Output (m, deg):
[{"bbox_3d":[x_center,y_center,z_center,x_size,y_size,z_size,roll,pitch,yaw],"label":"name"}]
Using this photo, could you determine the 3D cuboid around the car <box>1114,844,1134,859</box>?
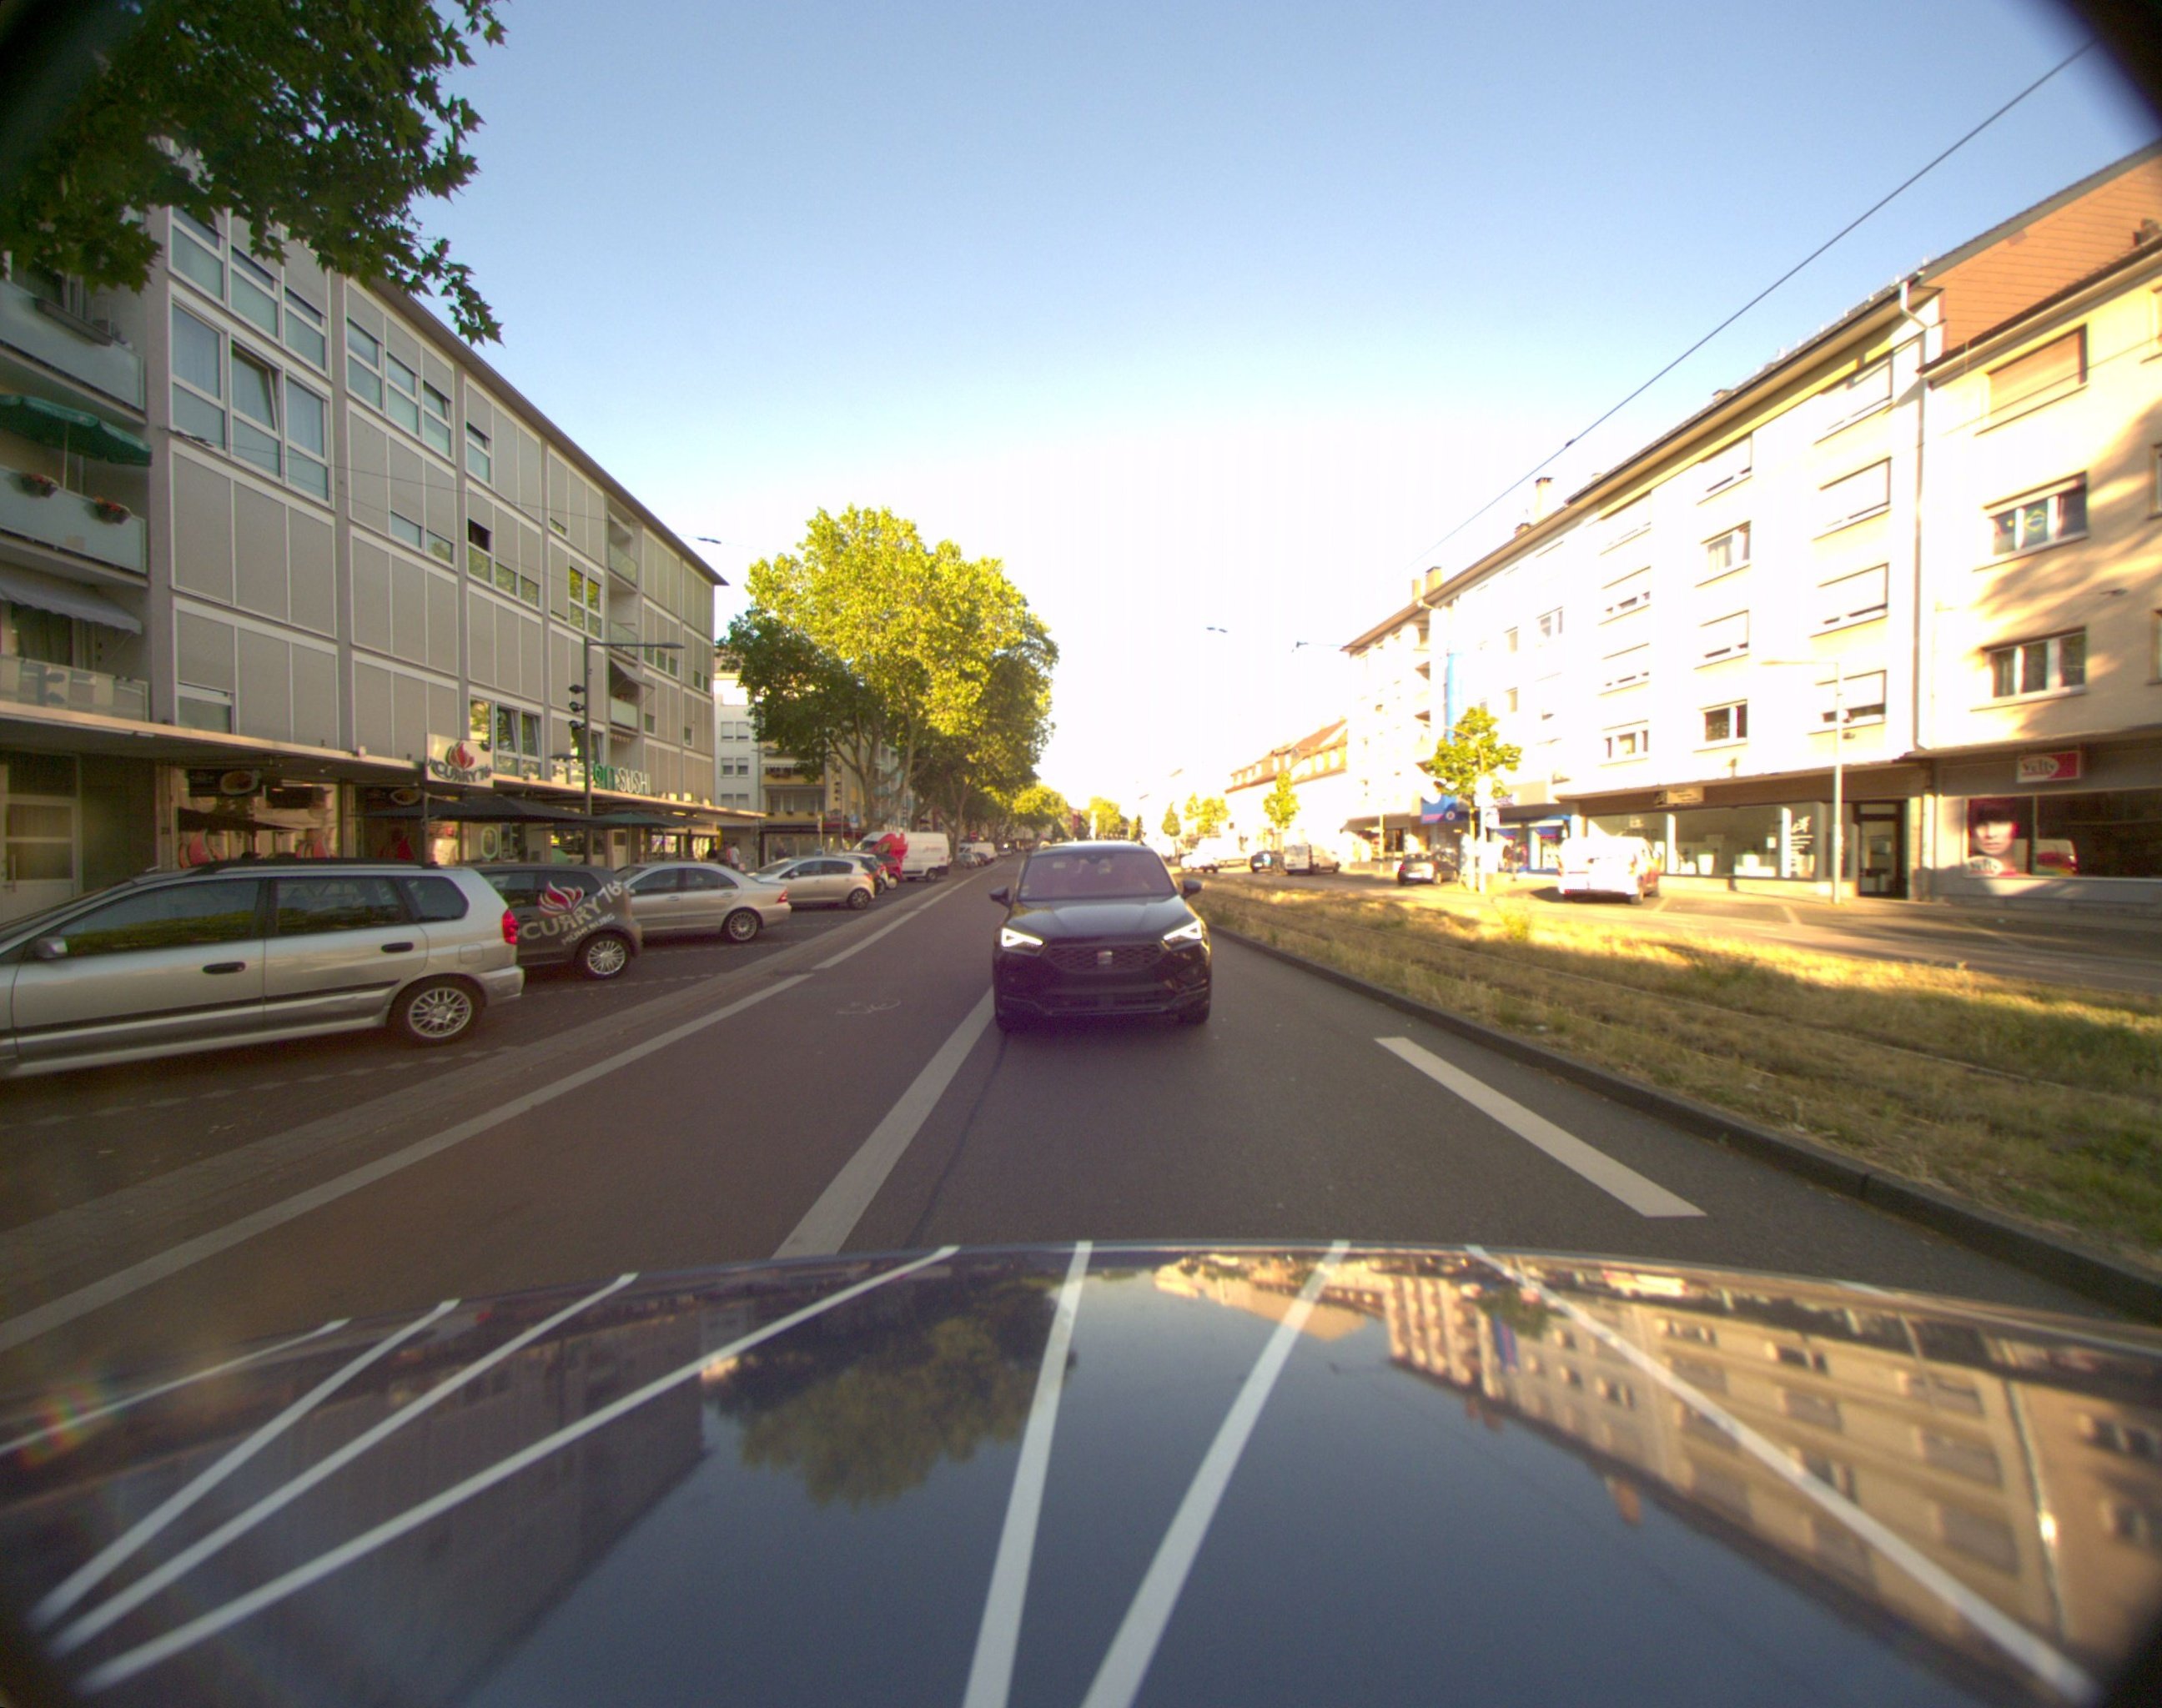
[{"bbox_3d":[5.359,-0.356,94.480,1.999,1.783,3.998,0,1,-4],"label":"car"}]

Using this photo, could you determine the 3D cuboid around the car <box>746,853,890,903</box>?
[{"bbox_3d":[-8.211,0.743,23.805,3.949,1.420,1.672,1,1,-34],"label":"car"}]

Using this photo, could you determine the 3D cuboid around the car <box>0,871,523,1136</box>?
[{"bbox_3d":[-6.872,0.956,5.722,1.672,1.533,3.993,2,1,38],"label":"car"}]

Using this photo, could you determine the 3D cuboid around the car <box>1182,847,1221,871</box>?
[{"bbox_3d":[8.358,0.321,53.225,1.846,1.571,4.449,0,1,-3],"label":"car"}]

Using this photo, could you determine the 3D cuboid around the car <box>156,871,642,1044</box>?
[{"bbox_3d":[-7.564,0.966,8.797,1.672,1.420,3.950,2,1,38],"label":"car"}]

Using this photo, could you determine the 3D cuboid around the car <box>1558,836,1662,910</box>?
[{"bbox_3d":[15.594,0.484,22.317,1.853,1.888,4.007,-1,2,44],"label":"car"}]

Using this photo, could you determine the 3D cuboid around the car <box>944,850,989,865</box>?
[{"bbox_3d":[-10.907,0.332,72.550,1.778,1.396,3.943,1,1,44],"label":"car"}]

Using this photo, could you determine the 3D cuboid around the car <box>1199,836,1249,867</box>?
[{"bbox_3d":[12.968,-0.297,68.415,1.922,2.599,6.601,-1,1,34],"label":"car"}]

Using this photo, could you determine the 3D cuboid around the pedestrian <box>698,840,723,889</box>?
[{"bbox_3d":[-14.936,0.404,30.645,0.748,1.964,0.575,0,1,-4],"label":"pedestrian"}]

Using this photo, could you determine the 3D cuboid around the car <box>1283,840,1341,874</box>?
[{"bbox_3d":[14.497,0.164,47.518,1.853,1.927,4.513,-1,1,40],"label":"car"}]

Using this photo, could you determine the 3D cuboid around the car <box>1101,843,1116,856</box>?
[{"bbox_3d":[4.480,-0.758,125.181,1.906,2.002,3.998,0,1,-5],"label":"car"}]

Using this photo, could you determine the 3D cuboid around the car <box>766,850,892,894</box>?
[{"bbox_3d":[-8.942,0.651,27.068,3.948,1.421,1.672,2,2,-32],"label":"car"}]

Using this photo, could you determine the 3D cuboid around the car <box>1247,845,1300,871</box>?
[{"bbox_3d":[13.793,0.248,54.411,3.922,1.704,1.853,-2,1,-45],"label":"car"}]

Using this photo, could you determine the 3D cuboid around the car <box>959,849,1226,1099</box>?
[{"bbox_3d":[0.124,0.822,7.248,1.784,1.639,4.000,-2,1,1],"label":"car"}]

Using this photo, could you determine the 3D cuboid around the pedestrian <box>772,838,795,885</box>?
[{"bbox_3d":[-12.779,0.317,32.672,0.748,2.002,0.559,0,1,-4],"label":"pedestrian"}]

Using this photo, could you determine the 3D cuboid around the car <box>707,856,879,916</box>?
[{"bbox_3d":[-7.558,0.809,20.208,3.950,1.420,1.555,1,1,-45],"label":"car"}]

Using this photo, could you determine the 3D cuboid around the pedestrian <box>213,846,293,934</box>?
[{"bbox_3d":[-15.101,0.639,13.873,0.583,1.573,0.771,0,1,2],"label":"pedestrian"}]

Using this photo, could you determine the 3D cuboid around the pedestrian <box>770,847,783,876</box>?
[{"bbox_3d":[-17.230,0.397,43.030,0.537,1.630,0.478,0,1,-4],"label":"pedestrian"}]

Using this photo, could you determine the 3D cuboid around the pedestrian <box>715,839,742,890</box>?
[{"bbox_3d":[-14.083,0.397,30.353,0.748,2.002,0.764,0,1,-4],"label":"pedestrian"}]

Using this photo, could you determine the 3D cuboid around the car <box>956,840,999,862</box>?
[{"bbox_3d":[-11.535,-0.355,84.883,1.973,2.454,4.606,1,1,44],"label":"car"}]

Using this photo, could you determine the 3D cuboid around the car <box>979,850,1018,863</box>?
[{"bbox_3d":[-8.913,0.227,82.073,1.778,1.326,3.943,1,1,44],"label":"car"}]

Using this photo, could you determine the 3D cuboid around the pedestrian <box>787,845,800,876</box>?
[{"bbox_3d":[-16.330,0.365,43.172,0.545,1.710,0.457,0,1,-4],"label":"pedestrian"}]

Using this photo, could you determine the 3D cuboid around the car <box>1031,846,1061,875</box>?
[{"bbox_3d":[-2.157,0.371,47.363,1.646,1.646,3.999,-2,1,-1],"label":"car"}]

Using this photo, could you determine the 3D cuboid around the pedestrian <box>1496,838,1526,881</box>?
[{"bbox_3d":[18.453,0.230,32.638,0.757,1.817,0.917,-1,1,-1],"label":"pedestrian"}]

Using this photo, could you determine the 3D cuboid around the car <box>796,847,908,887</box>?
[{"bbox_3d":[-9.096,0.535,30.256,3.948,1.421,1.672,1,2,-32],"label":"car"}]

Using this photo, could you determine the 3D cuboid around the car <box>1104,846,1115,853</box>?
[{"bbox_3d":[6.961,-1.097,183.564,2.498,1.871,5.273,0,1,1],"label":"car"}]

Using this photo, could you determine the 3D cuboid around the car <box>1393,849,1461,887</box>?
[{"bbox_3d":[15.356,0.582,33.638,1.731,1.489,4.008,-1,1,40],"label":"car"}]

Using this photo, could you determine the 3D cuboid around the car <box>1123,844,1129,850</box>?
[{"bbox_3d":[14.107,-2.287,239.422,1.842,2.002,4.001,0,1,4],"label":"car"}]

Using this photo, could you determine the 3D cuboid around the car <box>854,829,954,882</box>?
[{"bbox_3d":[-8.694,0.080,37.610,4.606,2.479,1.672,0,0,-44],"label":"car"}]

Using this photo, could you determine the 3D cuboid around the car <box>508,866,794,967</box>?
[{"bbox_3d":[-7.189,0.933,13.014,1.592,1.393,3.950,2,1,41],"label":"car"}]
